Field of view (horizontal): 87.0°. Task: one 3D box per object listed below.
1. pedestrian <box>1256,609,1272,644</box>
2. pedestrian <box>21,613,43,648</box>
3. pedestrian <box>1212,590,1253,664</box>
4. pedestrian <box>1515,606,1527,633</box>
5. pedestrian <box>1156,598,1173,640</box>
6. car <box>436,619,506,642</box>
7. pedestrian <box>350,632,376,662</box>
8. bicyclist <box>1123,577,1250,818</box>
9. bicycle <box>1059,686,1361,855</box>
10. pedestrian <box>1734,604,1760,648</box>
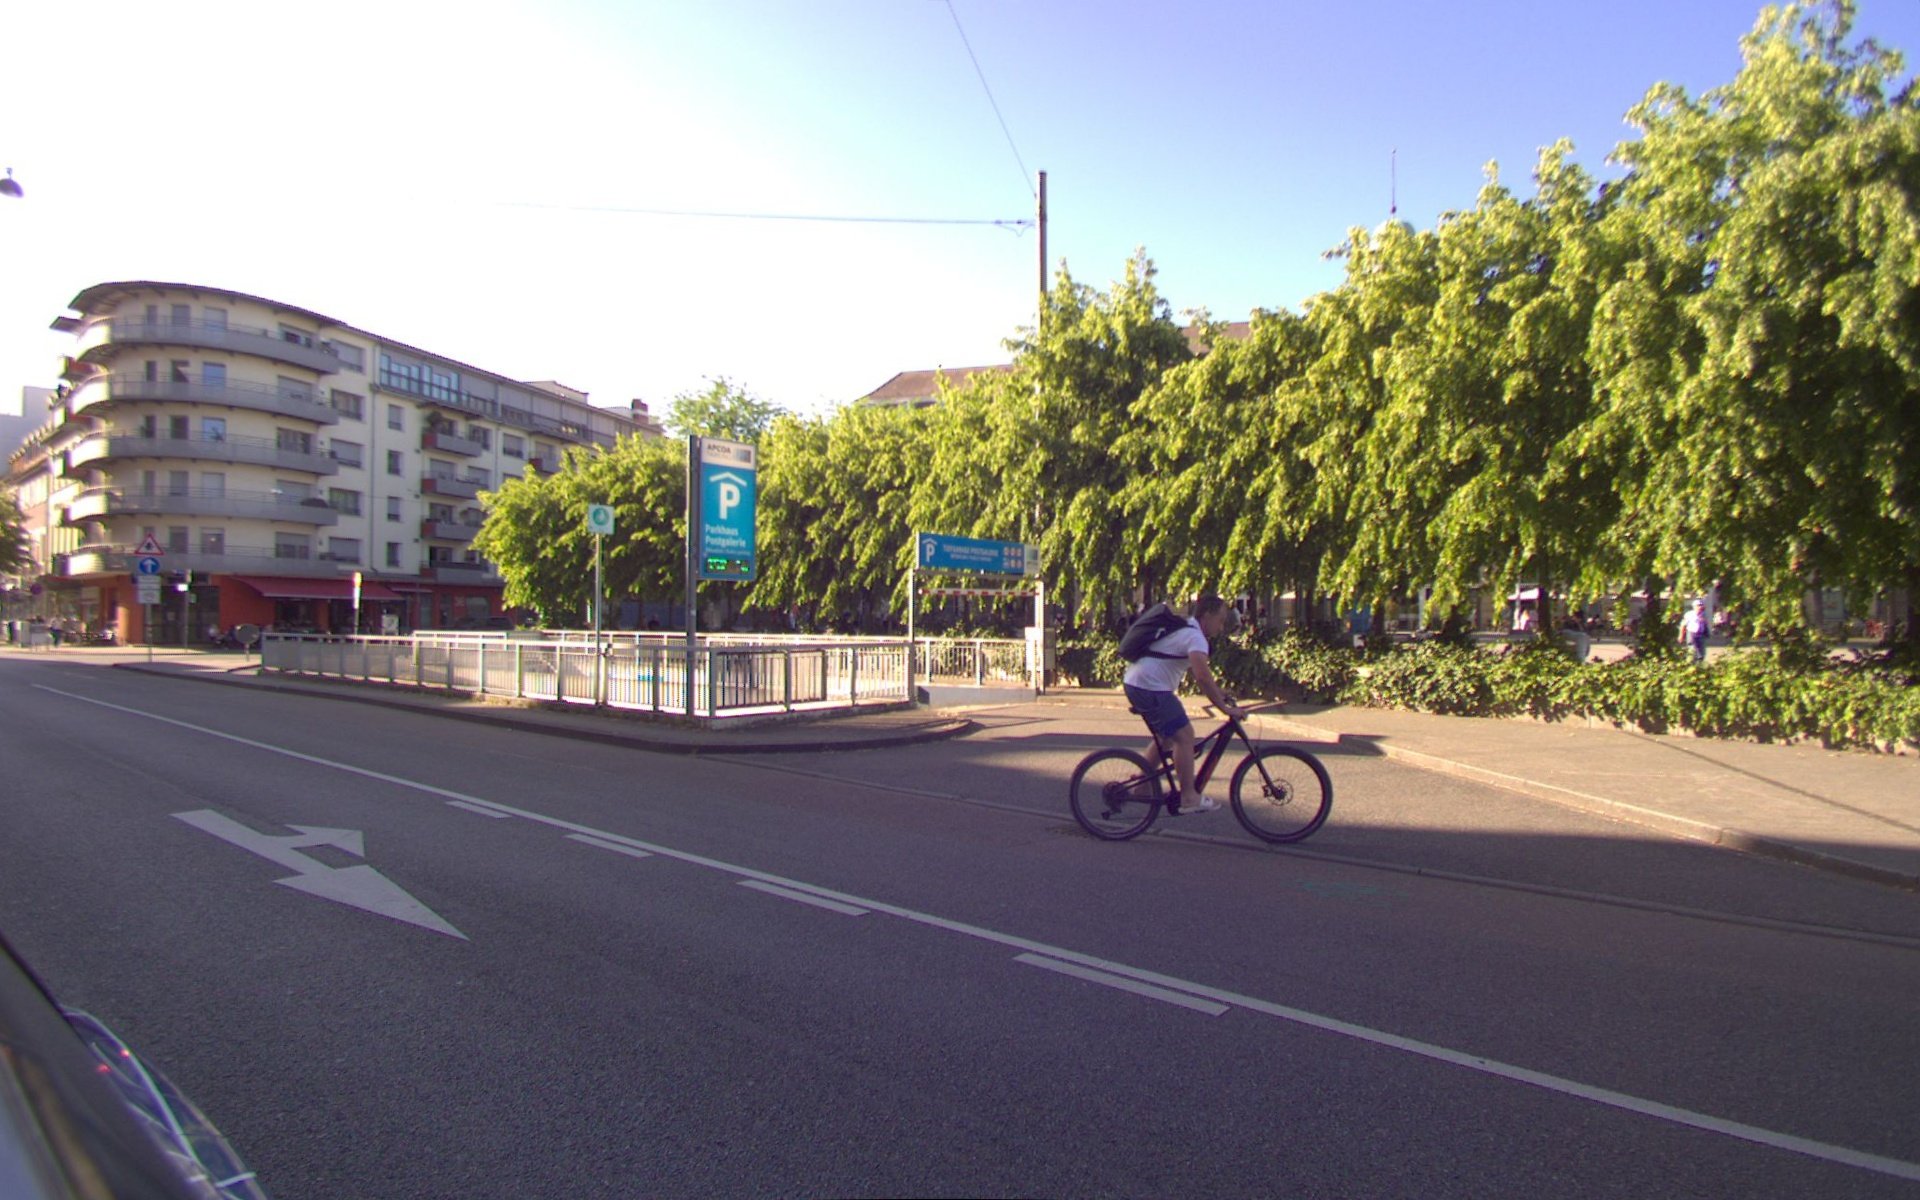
[{"bbox_3d":[15.402,1.354,51.292,0.606,1.734,0.640,-1,0,31],"label":"pedestrian"},{"bbox_3d":[-55.098,1.783,60.089,0.888,2.029,0.850,-1,0,40],"label":"pedestrian"},{"bbox_3d":[6.235,0.607,23.194,0.645,1.661,0.626,-1,0,-35],"label":"pedestrian"},{"bbox_3d":[36.352,1.291,65.605,0.643,1.734,0.603,-1,0,26],"label":"pedestrian"},{"bbox_3d":[8.629,0.802,42.695,0.604,1.734,0.642,-1,0,21],"label":"pedestrian"},{"bbox_3d":[-30.509,1.889,63.224,1.742,1.311,3.977,-1,-1,17],"label":"car"},{"bbox_3d":[-32.634,2.547,55.347,0.877,1.607,0.861,-1,0,2],"label":"pedestrian"},{"bbox_3d":[1.624,0.674,7.392,0.759,1.647,0.885,0,-1,4],"label":"bicyclist"},{"bbox_3d":[1.752,1.199,7.340,2.035,1.093,0.640,0,-1,5],"label":"bicycle"},{"bbox_3d":[31.698,1.035,40.770,0.641,1.734,0.605,-1,0,18],"label":"pedestrian"}]
